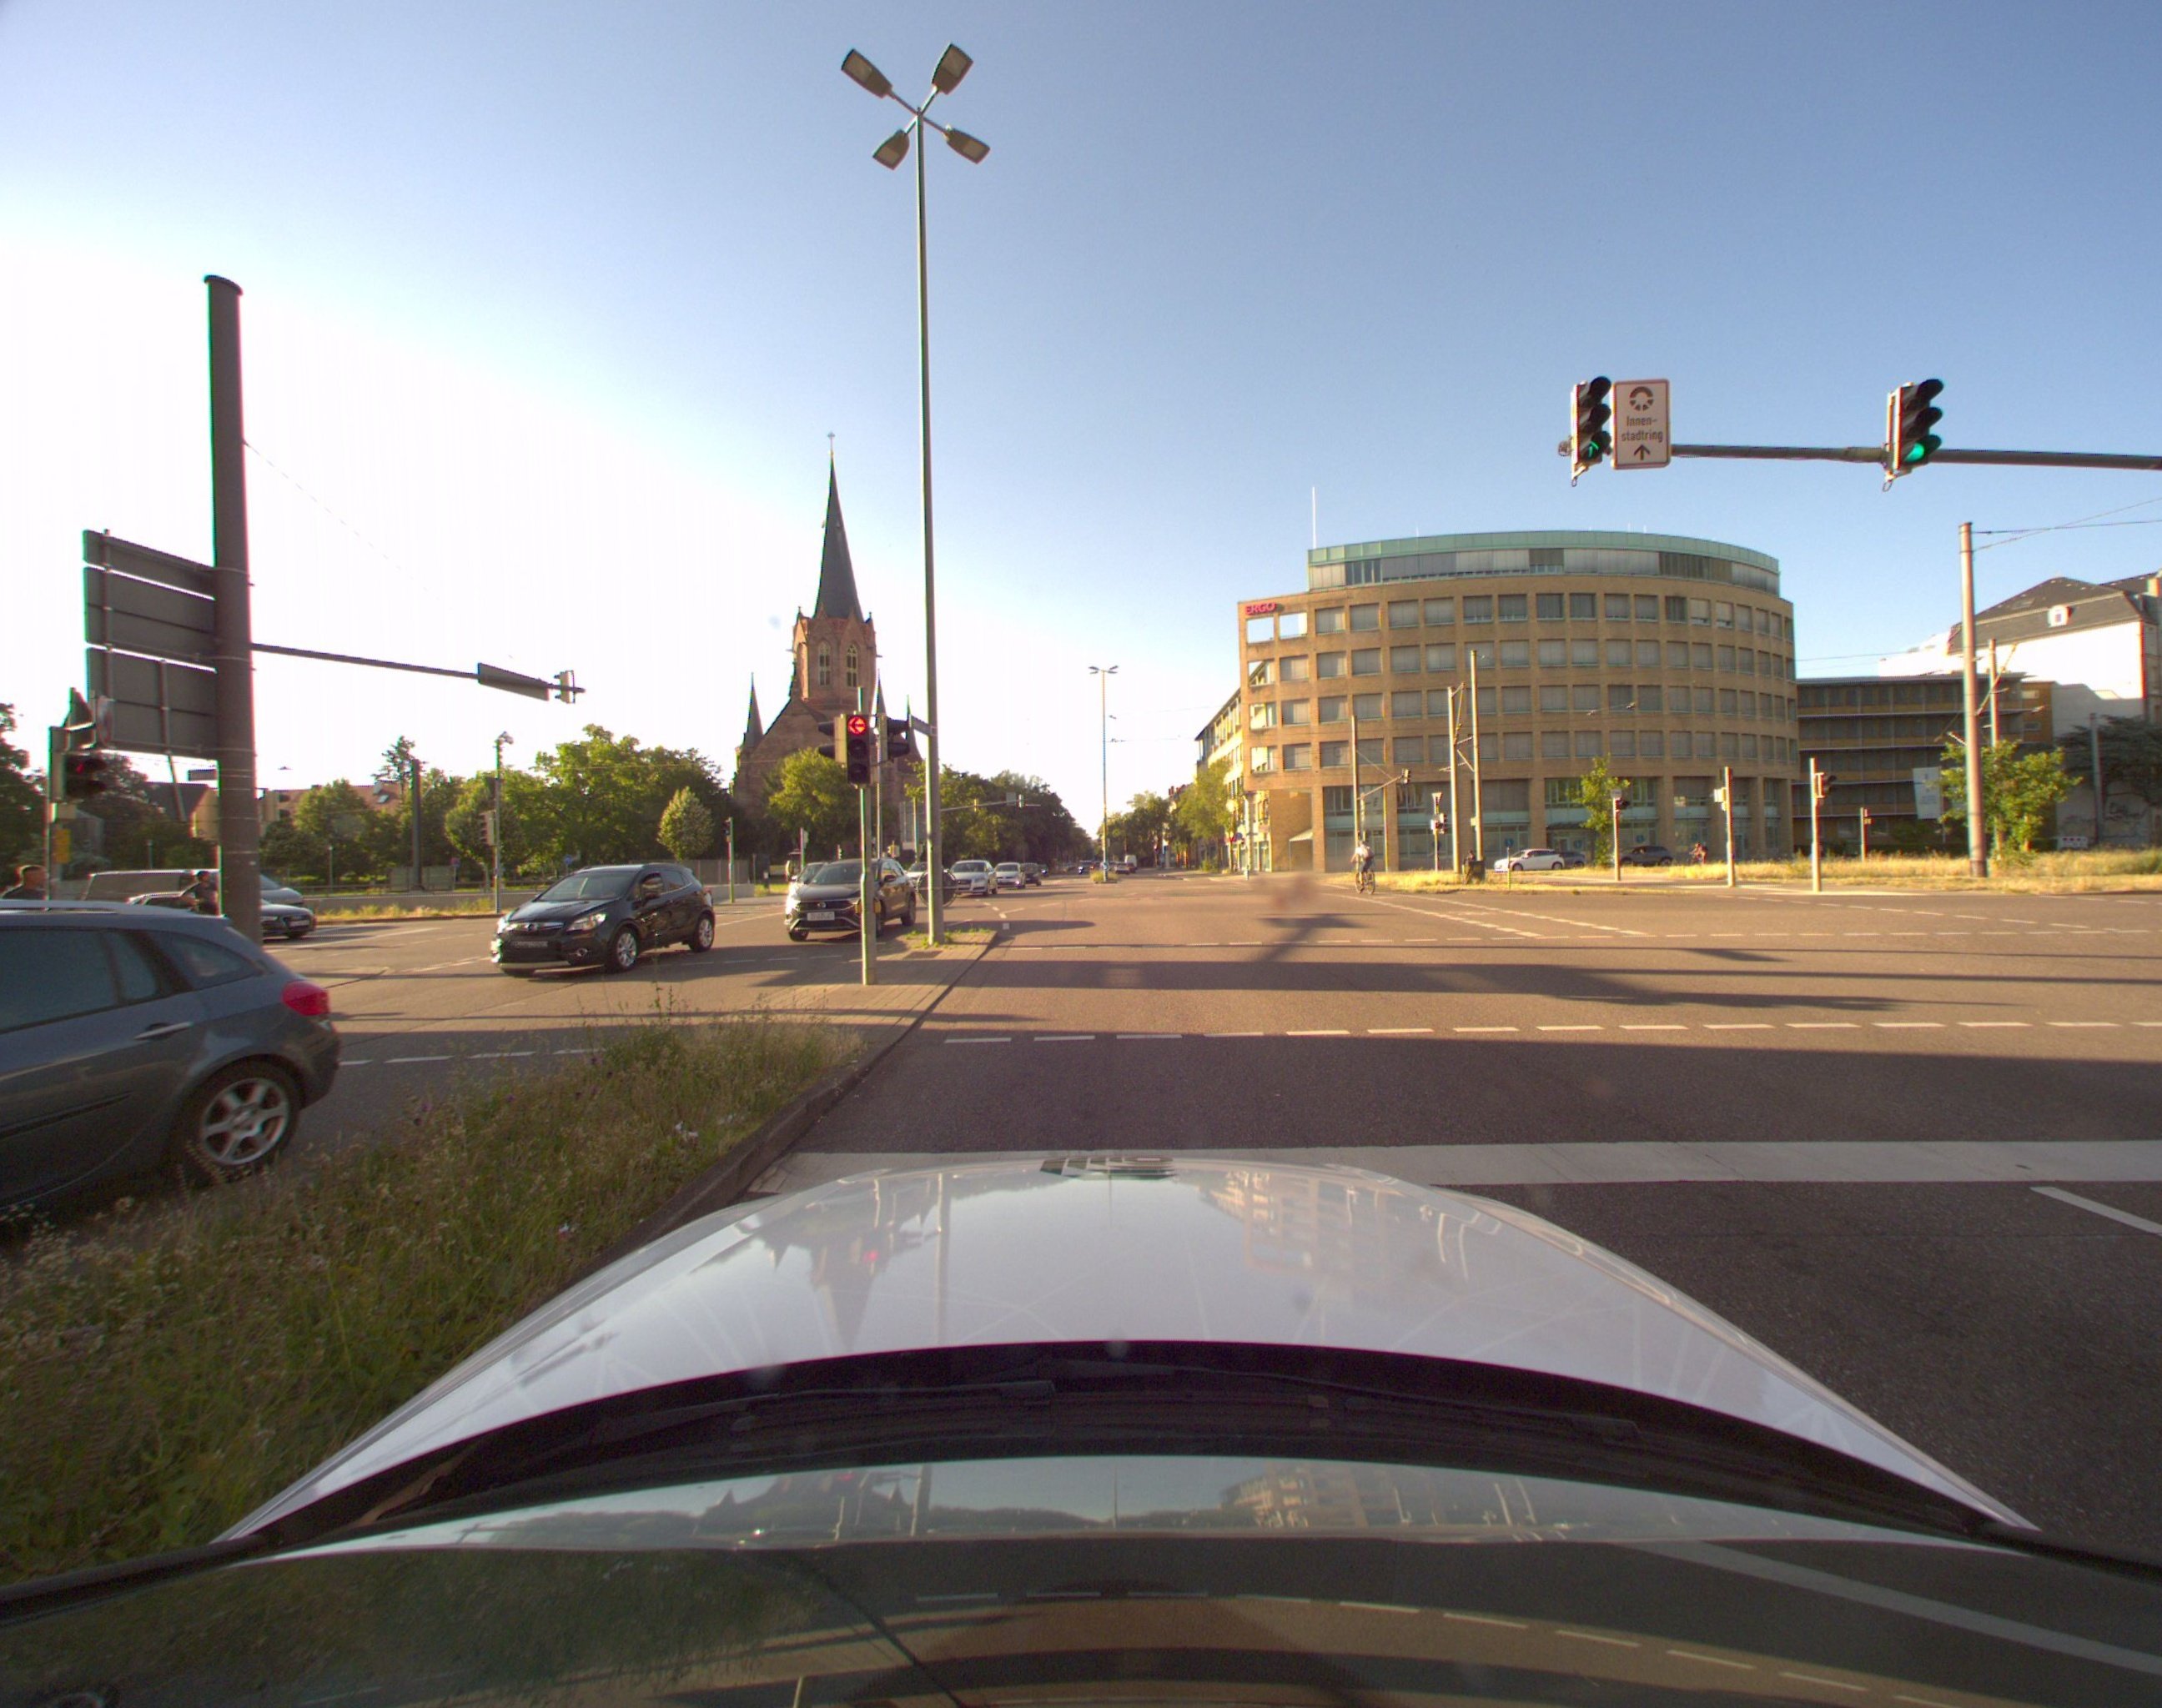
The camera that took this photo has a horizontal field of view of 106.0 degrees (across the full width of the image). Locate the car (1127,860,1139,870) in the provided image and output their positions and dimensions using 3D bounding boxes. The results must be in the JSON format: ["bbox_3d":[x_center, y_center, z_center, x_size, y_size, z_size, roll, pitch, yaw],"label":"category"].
[{"bbox_3d":[7.074,1.492,111.019,1.588,1.267,3.268,-2,0,2],"label":"car"}]

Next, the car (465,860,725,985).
[{"bbox_3d":[-7.746,0.986,13.528,1.713,1.628,4.103,-3,0,1],"label":"car"}]

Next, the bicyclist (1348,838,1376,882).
[{"bbox_3d":[8.902,0.193,25.777,0.590,1.369,0.930,0,0,2],"label":"bicyclist"}]

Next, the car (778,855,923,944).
[{"bbox_3d":[-4.685,0.841,17.176,1.669,1.544,4.104,-3,0,2],"label":"car"}]

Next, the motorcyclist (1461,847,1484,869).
[{"bbox_3d":[27.158,0.285,56.472,1.061,1.435,1.032,-2,-1,0],"label":"motorcyclist"}]

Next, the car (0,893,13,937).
[{"bbox_3d":[-36.000,1.992,25.015,3.889,1.374,1.800,-2,-1,-1],"label":"car"}]

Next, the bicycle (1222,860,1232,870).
[{"bbox_3d":[15.227,1.180,84.837,0.644,0.994,2.081,-2,-1,1],"label":"bicycle"}]

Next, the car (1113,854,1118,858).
[{"bbox_3d":[10.886,0.643,255.704,1.588,1.267,3.268,-2,0,2],"label":"car"}]

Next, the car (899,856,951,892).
[{"bbox_3d":[-7.439,0.923,39.135,1.669,1.544,3.639,-3,0,1],"label":"car"}]

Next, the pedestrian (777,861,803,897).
[{"bbox_3d":[-14.323,1.205,40.128,0.962,1.739,0.812,-1,-1,-1],"label":"pedestrian"}]

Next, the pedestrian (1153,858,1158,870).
[{"bbox_3d":[11.938,1.616,130.593,0.844,1.803,0.776,-2,0,1],"label":"pedestrian"}]

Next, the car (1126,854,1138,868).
[{"bbox_3d":[9.037,1.329,144.795,1.986,2.440,4.002,0,-1,2],"label":"car"}]

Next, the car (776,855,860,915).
[{"bbox_3d":[-7.823,0.880,24.436,1.530,1.593,2.807,-3,0,-1],"label":"car"}]

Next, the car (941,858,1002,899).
[{"bbox_3d":[-4.308,0.927,32.687,1.702,1.425,4.104,-3,0,1],"label":"car"}]

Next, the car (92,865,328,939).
[{"bbox_3d":[-26.410,1.416,24.837,4.908,2.014,1.999,-2,-1,-1],"label":"car"}]

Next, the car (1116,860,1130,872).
[{"bbox_3d":[4.822,1.406,93.879,1.588,1.267,3.268,-2,0,2],"label":"car"}]

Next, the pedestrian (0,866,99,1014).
[{"bbox_3d":[-13.325,1.056,10.367,0.605,1.787,0.813,1,0,5],"label":"pedestrian"}]

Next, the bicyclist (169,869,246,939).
[{"bbox_3d":[-21.085,1.182,19.679,0.733,1.598,0.963,-3,0,1],"label":"bicyclist"}]

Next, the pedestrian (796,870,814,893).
[{"bbox_3d":[-20.213,1.996,59.647,1.004,1.696,0.850,-1,-1,31],"label":"pedestrian"}]

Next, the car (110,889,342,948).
[{"bbox_3d":[-22.634,1.679,21.685,4.175,1.312,1.800,-2,-1,-1],"label":"car"}]

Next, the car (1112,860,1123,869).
[{"bbox_3d":[5.505,1.640,124.117,1.588,1.267,3.268,-2,0,2],"label":"car"}]

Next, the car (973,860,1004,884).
[{"bbox_3d":[-6.466,1.236,57.143,1.572,1.544,3.478,-3,0,1],"label":"car"}]

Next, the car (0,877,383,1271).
[{"bbox_3d":[-5.017,0.917,2.876,1.587,1.471,3.985,-3,0,0],"label":"car"}]

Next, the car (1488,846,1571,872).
[{"bbox_3d":[28.290,0.305,51.418,4.150,1.492,1.994,-2,-1,-1],"label":"car"}]

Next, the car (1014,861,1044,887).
[{"bbox_3d":[-3.447,1.292,54.514,1.572,1.544,3.478,-3,0,1],"label":"car"}]

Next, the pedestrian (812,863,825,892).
[{"bbox_3d":[-15.512,1.369,48.131,0.709,1.696,0.891,0,-1,-15],"label":"pedestrian"}]

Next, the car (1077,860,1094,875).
[{"bbox_3d":[0.583,1.728,103.747,1.986,1.724,5.031,-2,-1,1],"label":"car"}]

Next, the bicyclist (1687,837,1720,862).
[{"bbox_3d":[41.191,-0.299,53.884,1.219,1.572,1.154,-2,-1,0],"label":"bicyclist"}]

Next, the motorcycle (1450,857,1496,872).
[{"bbox_3d":[27.156,0.737,56.464,2.708,0.964,1.032,-2,-1,0],"label":"motorcycle"}]

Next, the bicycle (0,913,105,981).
[{"bbox_3d":[-18.762,1.644,14.181,0.732,1.051,2.300,-2,0,1],"label":"bicycle"}]

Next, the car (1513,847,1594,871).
[{"bbox_3d":[32.690,0.356,56.414,4.464,1.537,1.987,-2,-1,2],"label":"car"}]

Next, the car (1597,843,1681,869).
[{"bbox_3d":[35.168,0.113,51.415,4.038,1.492,1.820,-2,-1,0],"label":"car"}]

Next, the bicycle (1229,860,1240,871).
[{"bbox_3d":[15.125,1.142,80.301,0.644,0.994,2.081,-2,-1,1],"label":"bicycle"}]

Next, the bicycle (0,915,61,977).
[{"bbox_3d":[-19.567,1.665,14.158,0.732,1.051,2.300,-2,-1,1],"label":"bicycle"}]

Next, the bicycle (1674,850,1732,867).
[{"bbox_3d":[41.162,0.288,53.880,2.951,1.000,1.154,-2,-1,-1],"label":"bicycle"}]

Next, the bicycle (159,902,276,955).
[{"bbox_3d":[-20.835,1.786,19.680,1.770,1.097,0.952,-3,0,1],"label":"bicycle"}]

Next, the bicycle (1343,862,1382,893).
[{"bbox_3d":[8.908,0.735,25.842,0.590,0.943,1.979,0,0,2],"label":"bicycle"}]

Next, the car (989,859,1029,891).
[{"bbox_3d":[-3.930,1.122,45.058,1.669,1.544,3.807,-3,0,1],"label":"car"}]

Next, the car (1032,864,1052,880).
[{"bbox_3d":[-4.440,2.104,93.903,1.986,1.724,4.593,-2,-1,1],"label":"car"}]

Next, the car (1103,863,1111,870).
[{"bbox_3d":[5.194,2.534,160.775,1.588,1.267,3.268,-2,0,2],"label":"car"}]
